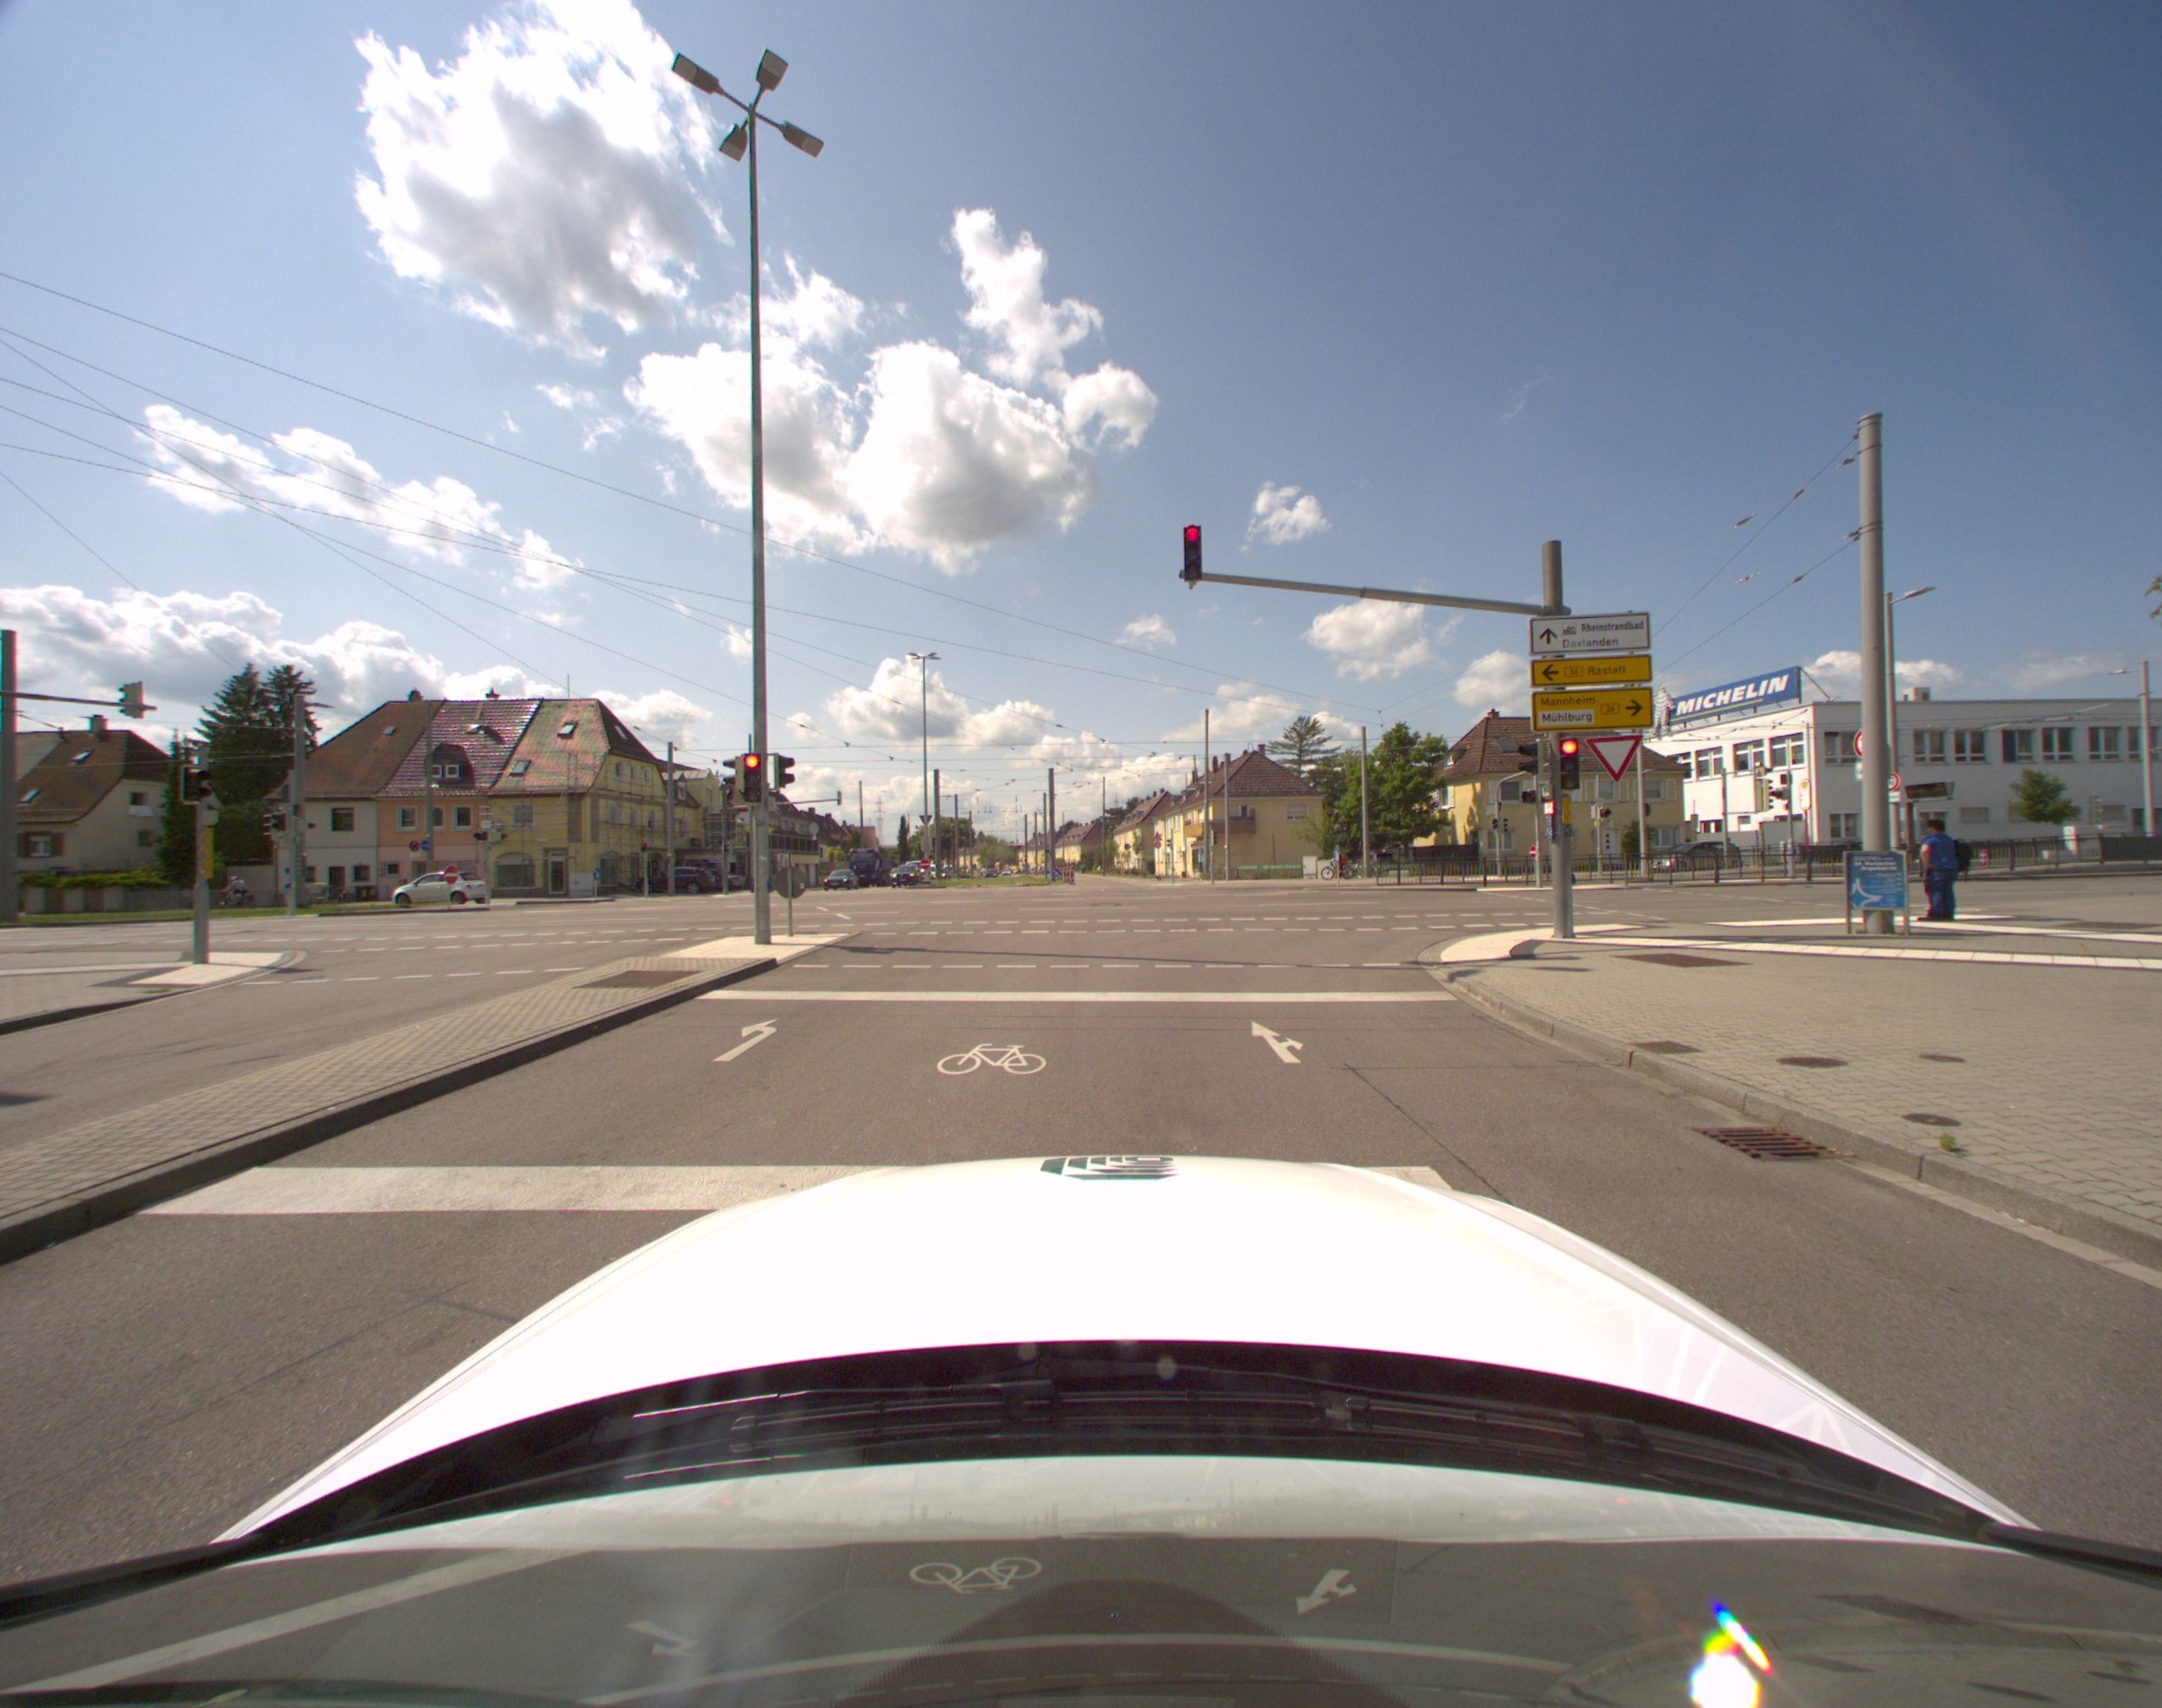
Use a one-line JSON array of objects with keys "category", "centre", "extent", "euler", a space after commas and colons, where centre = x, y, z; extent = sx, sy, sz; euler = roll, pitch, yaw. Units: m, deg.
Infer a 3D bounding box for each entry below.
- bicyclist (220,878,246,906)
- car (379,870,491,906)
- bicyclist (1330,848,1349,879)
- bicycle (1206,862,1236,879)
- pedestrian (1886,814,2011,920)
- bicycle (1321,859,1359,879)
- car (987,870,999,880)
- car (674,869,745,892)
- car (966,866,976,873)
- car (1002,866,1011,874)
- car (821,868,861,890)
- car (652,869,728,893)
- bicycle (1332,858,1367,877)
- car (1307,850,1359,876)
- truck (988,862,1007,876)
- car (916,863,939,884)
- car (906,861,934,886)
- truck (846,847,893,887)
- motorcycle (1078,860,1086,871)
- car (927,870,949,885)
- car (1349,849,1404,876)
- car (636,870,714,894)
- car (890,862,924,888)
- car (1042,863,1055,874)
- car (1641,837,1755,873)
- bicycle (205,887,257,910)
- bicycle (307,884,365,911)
[{"category": "bicyclist", "centre": [-43.697, 1.938, 41.964], "extent": [0.720, 1.398, 0.577], "euler": [-1, 0, -3]}, {"category": "car", "centre": [-28.336, 1.460, 35.803], "extent": [3.533, 1.508, 1.583], "euler": [0, -1, -4]}, {"category": "bicyclist", "centre": [15.079, 0.538, 47.447], "extent": [0.948, 1.775, 0.723], "euler": [-2, -1, 24]}, {"category": "bicycle", "centre": [9.529, 1.140, 55.581], "extent": [0.597, 1.096, 2.253], "euler": [-1, -1, -34]}, {"category": "pedestrian", "centre": [15.018, 0.220, 14.130], "extent": [1.027, 1.735, 1.040], "euler": [-1, 0, -2]}, {"category": "bicycle", "centre": [15.007, 0.861, 47.128], "extent": [2.009, 1.102, 0.719], "euler": [-2, -1, 23]}, {"category": "car", "centre": [-15.140, 3.595, 140.391], "extent": [1.840, 1.494, 4.847], "euler": [-2, -1, -5]}, {"category": "car", "centre": [-25.389, 1.800, 55.769], "extent": [4.129, 1.493, 1.431], "euler": [0, -1, -7]}, {"category": "car", "centre": [-31.801, 4.489, 236.030], "extent": [2.000, 1.910, 3.973], "euler": [-1, 0, -20]}, {"category": "car", "centre": [-15.353, 3.248, 167.938], "extent": [1.840, 1.562, 4.180], "euler": [-2, -1, -5]}, {"category": "car", "centre": [-17.232, 1.797, 58.642], "extent": [1.824, 1.487, 4.328], "euler": [-1, -1, -3]}, {"category": "car", "centre": [-25.444, 1.743, 53.057], "extent": [4.129, 1.493, 1.504], "euler": [0, -1, -7]}, {"category": "bicycle", "centre": [15.936, 0.799, 48.387], "extent": [1.785, 1.105, 0.707], "euler": [-2, -1, 41]}, {"category": "car", "centre": [16.979, 0.657, 55.145], "extent": [1.821, 1.621, 3.989], "euler": [-1, -2, -8]}, {"category": "truck", "centre": [-22.402, 4.013, 218.304], "extent": [2.651, 3.494, 9.368], "euler": [-1, -1, -21]}, {"category": "car", "centre": [-13.973, 1.741, 74.342], "extent": [1.731, 1.782, 4.395], "euler": [-2, -1, -6]}, {"category": "car", "centre": [-13.100, 1.547, 66.447], "extent": [1.812, 1.922, 4.737], "euler": [-1, -1, -6]}, {"category": "truck", "centre": [-18.157, 1.104, 70.283], "extent": [2.765, 3.188, 7.565], "euler": [-1, -1, -6]}, {"category": "motorcycle", "centre": [0.177, 1.853, 132.196], "extent": [1.065, 1.635, 2.079], "euler": [-1, -1, -6]}, {"category": "car", "centre": [-14.248, 2.344, 81.291], "extent": [1.912, 1.419, 3.991], "euler": [-2, -1, -6]}, {"category": "car", "centre": [19.769, 0.587, 54.714], "extent": [1.821, 1.621, 3.989], "euler": [-1, -2, -8]}, {"category": "car", "centre": [-25.082, 1.721, 50.370], "extent": [4.129, 1.493, 1.176], "euler": [0, -1, -7]}, {"category": "car", "centre": [-12.774, 1.509, 60.019], "extent": [1.783, 1.720, 4.434], "euler": [-1, 0, -5]}, {"category": "car", "centre": [-6.383, 2.779, 157.634], "extent": [2.064, 2.149, 4.865], "euler": [-1, -1, -8]}, {"category": "car", "centre": [28.966, 0.060, 38.319], "extent": [3.974, 1.568, 1.842], "euler": [-2, -1, -1]}, {"category": "bicycle", "centre": [-43.765, 2.291, 41.952], "extent": [1.895, 1.078, 0.694], "euler": [-1, 0, -2]}, {"category": "bicycle", "centre": [-40.799, 2.367, 44.641], "extent": [0.770, 1.356, 2.460], "euler": [0, -1, 3]}]
